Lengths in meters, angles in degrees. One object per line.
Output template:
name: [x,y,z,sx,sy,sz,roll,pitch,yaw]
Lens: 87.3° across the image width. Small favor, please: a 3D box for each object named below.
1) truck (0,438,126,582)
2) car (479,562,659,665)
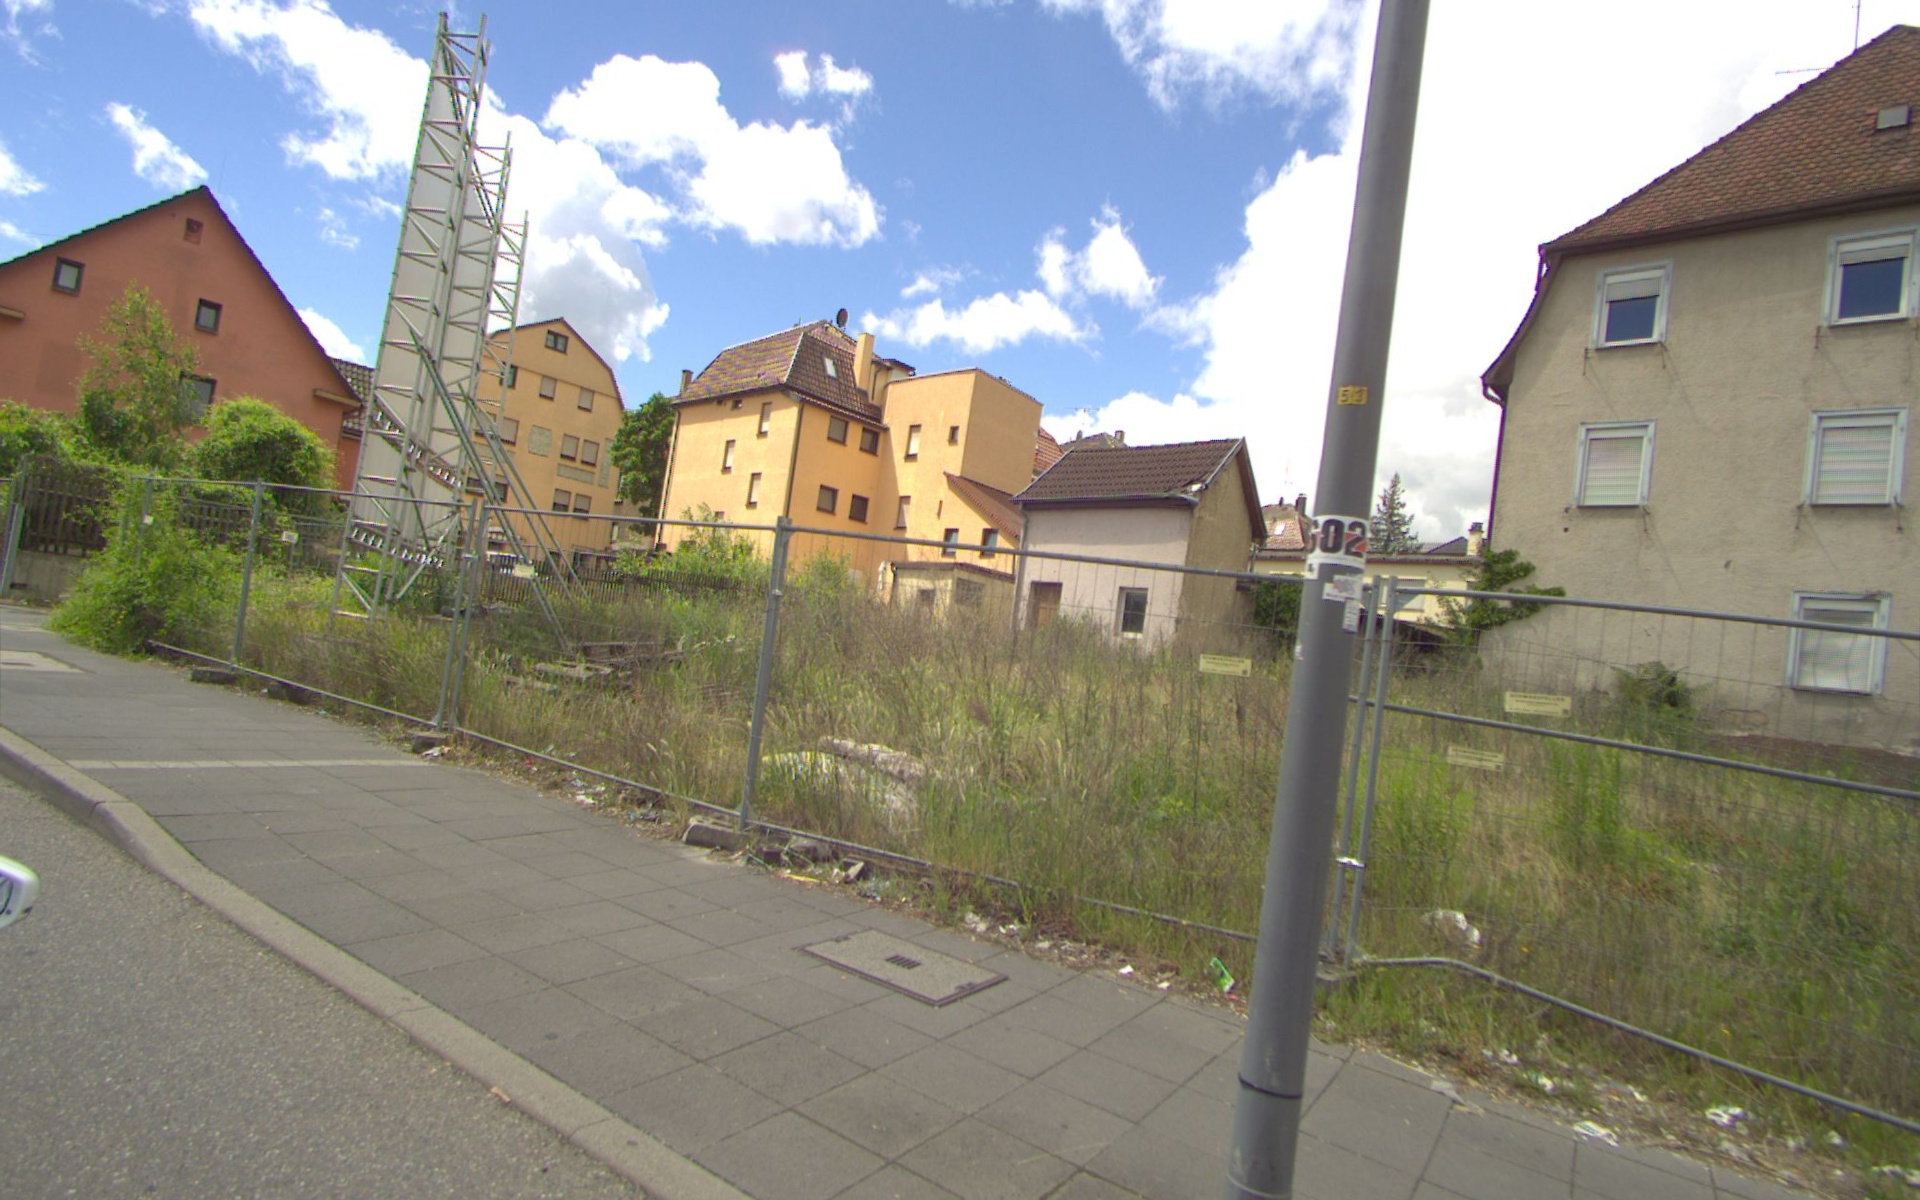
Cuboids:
truck: [-36.311,-3.763,35.925,3.156,4.580,9.044,6,-6,25]
car: [-5.597,0.183,14.346,2.406,1.134,1.073,7,-1,33]
